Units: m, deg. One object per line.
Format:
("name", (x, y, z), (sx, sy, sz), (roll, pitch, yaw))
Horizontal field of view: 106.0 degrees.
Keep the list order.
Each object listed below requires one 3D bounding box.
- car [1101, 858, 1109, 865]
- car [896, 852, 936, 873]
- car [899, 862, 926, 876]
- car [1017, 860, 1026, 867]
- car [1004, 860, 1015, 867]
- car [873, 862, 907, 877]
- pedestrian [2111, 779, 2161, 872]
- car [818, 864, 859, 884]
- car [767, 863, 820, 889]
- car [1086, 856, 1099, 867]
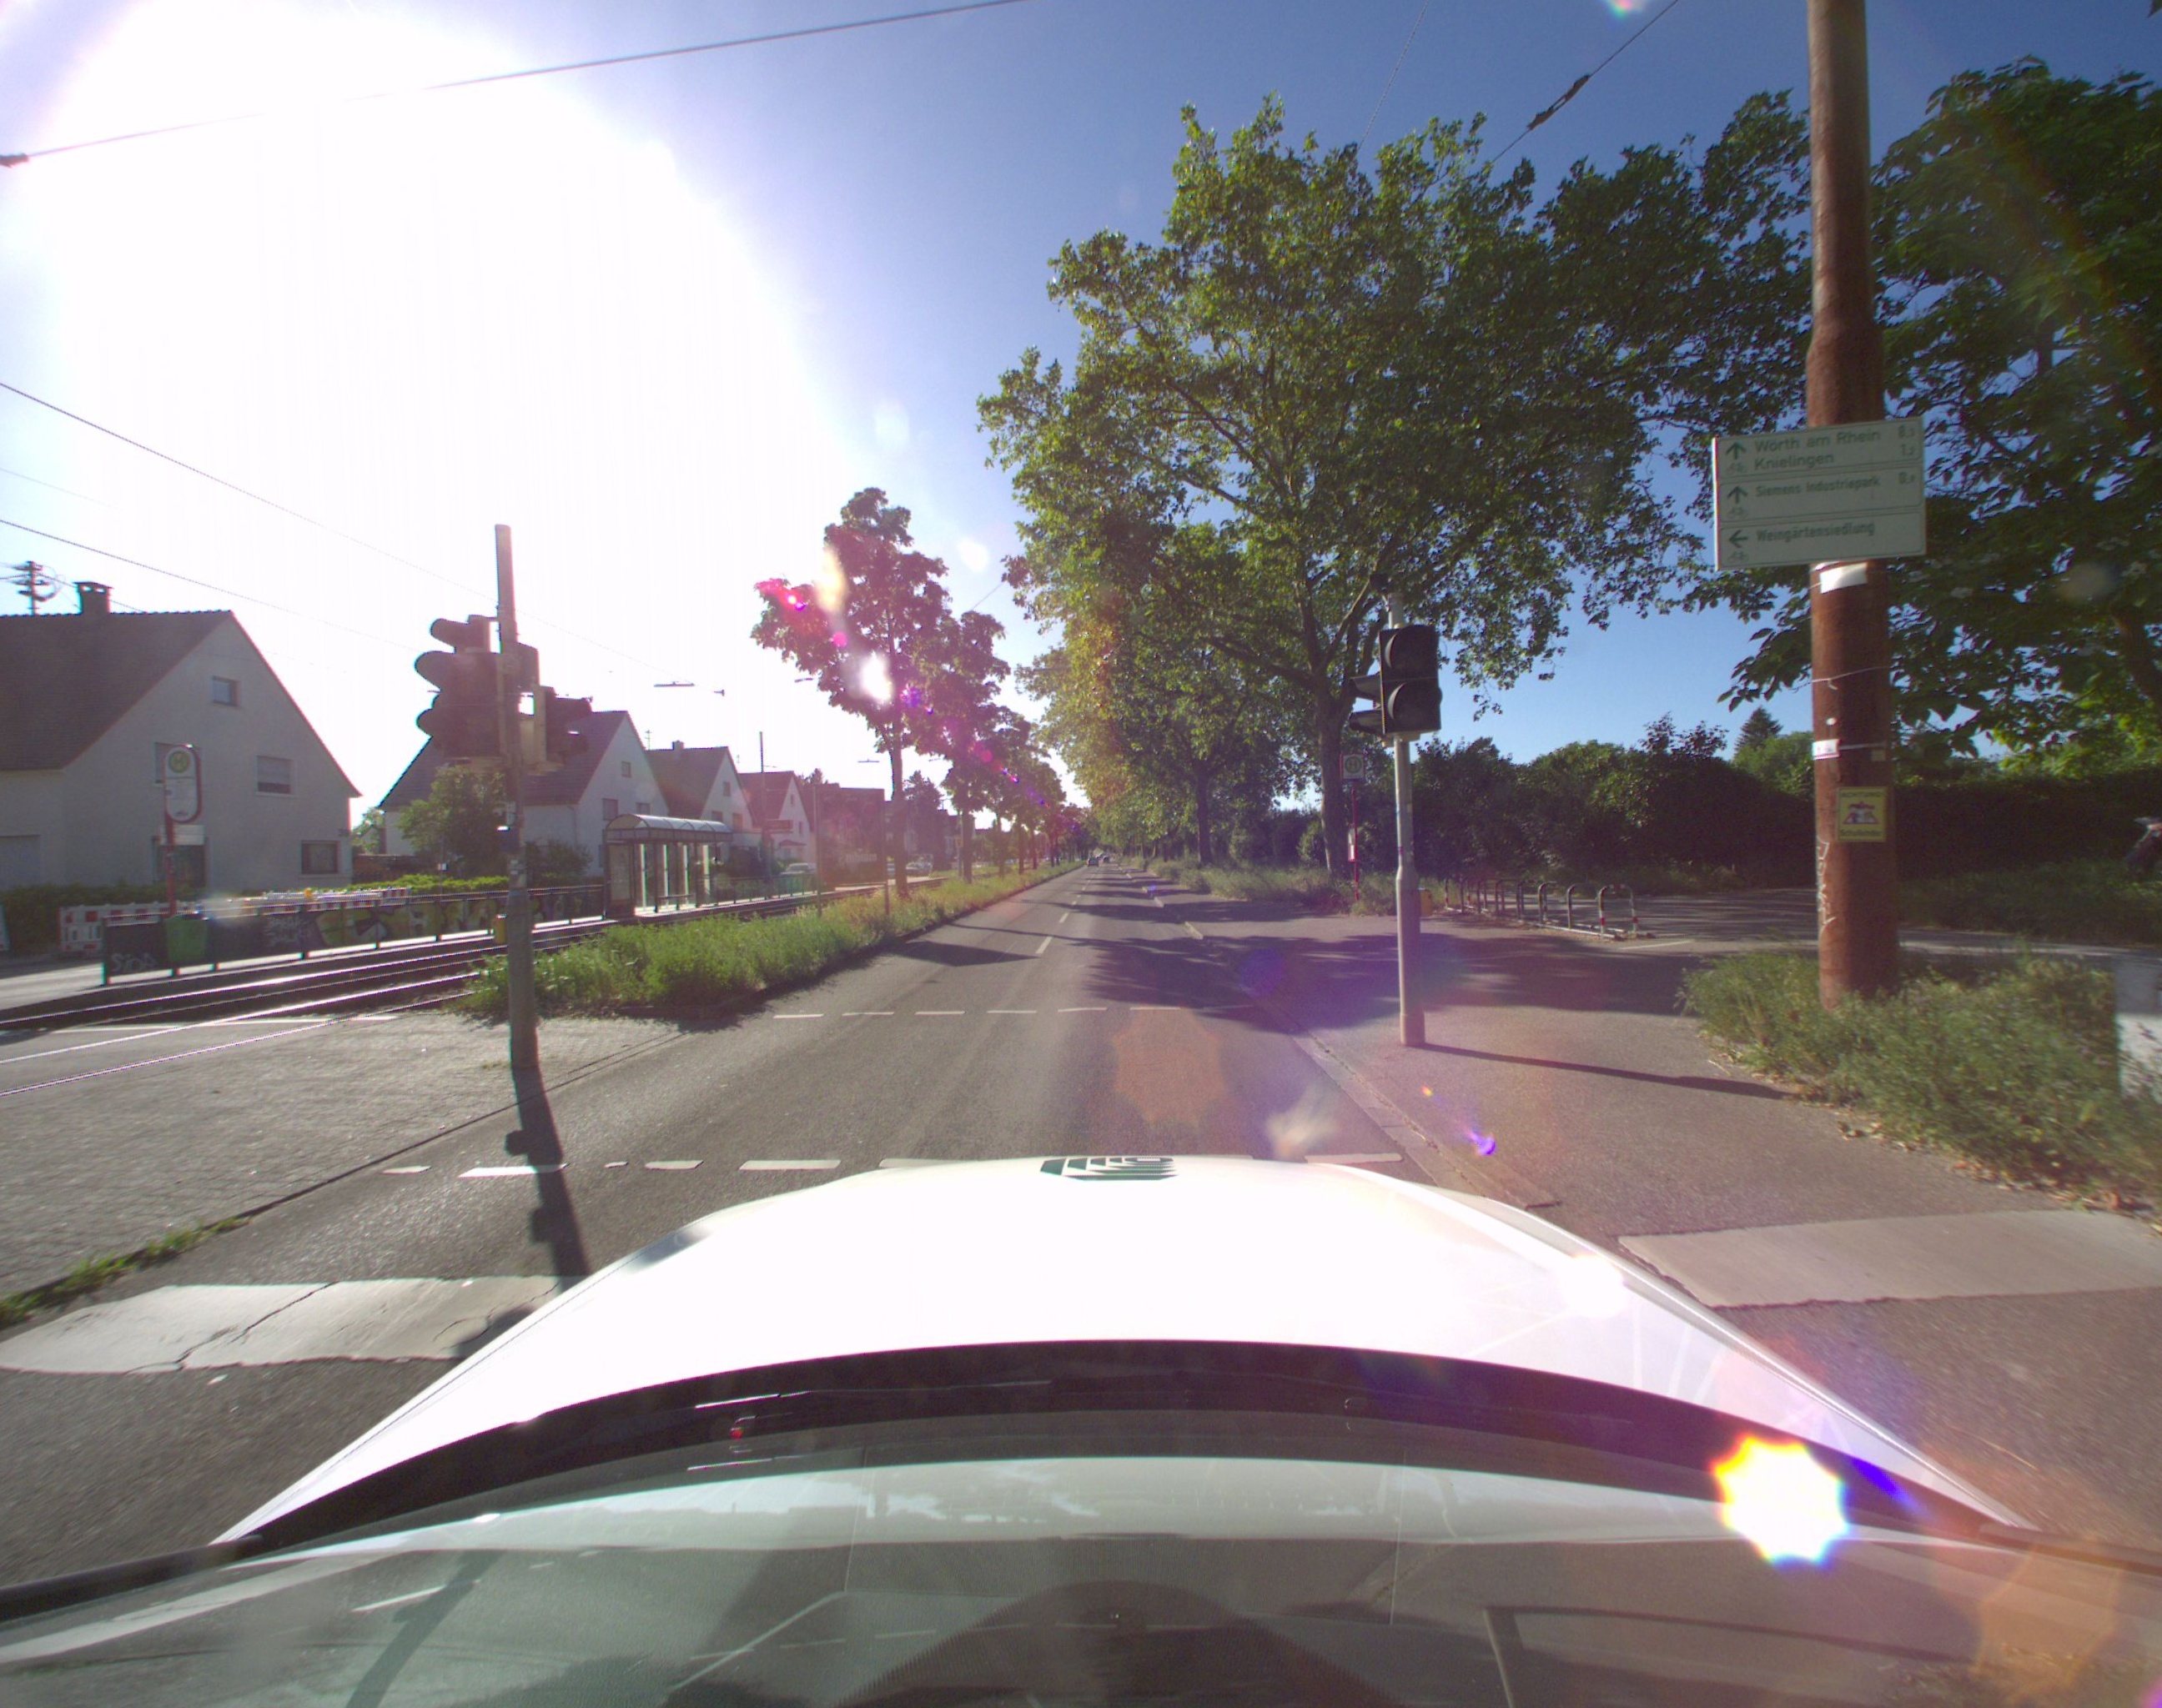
("car", (5.606, 1.679, 190.804), (1.986, 1.603, 4.474), (-1, -1, 1))
("car", (-23.217, 1.187, 114.866), (5.010, 2.625, 2.103), (-2, 0, 1))
("car", (-18.318, 1.607, 88.688), (1.986, 1.450, 4.129), (1, 0, 2))
("car", (-14.473, 2.194, 198.178), (1.741, 1.651, 4.556), (-1, -1, 1))
("car", (-15.582, 2.043, 177.377), (1.853, 1.542, 4.229), (-1, -1, 1))
("car", (-18.690, 1.470, 79.902), (1.985, 1.426, 4.414), (-1, -1, 3))
("pedestrian", (14.491, -0.374, 10.879), (0.736, 1.220, 0.685), (-1, -1, -19))
("car", (-19.580, 1.593, 65.925), (1.919, 1.495, 4.257), (-1, -1, 2))
("car", (-19.807, 1.503, 56.328), (1.986, 1.713, 4.392), (-1, -1, 2))
("car", (1.747, 1.135, 118.635), (1.853, 1.601, 4.229), (-1, -1, 1))
